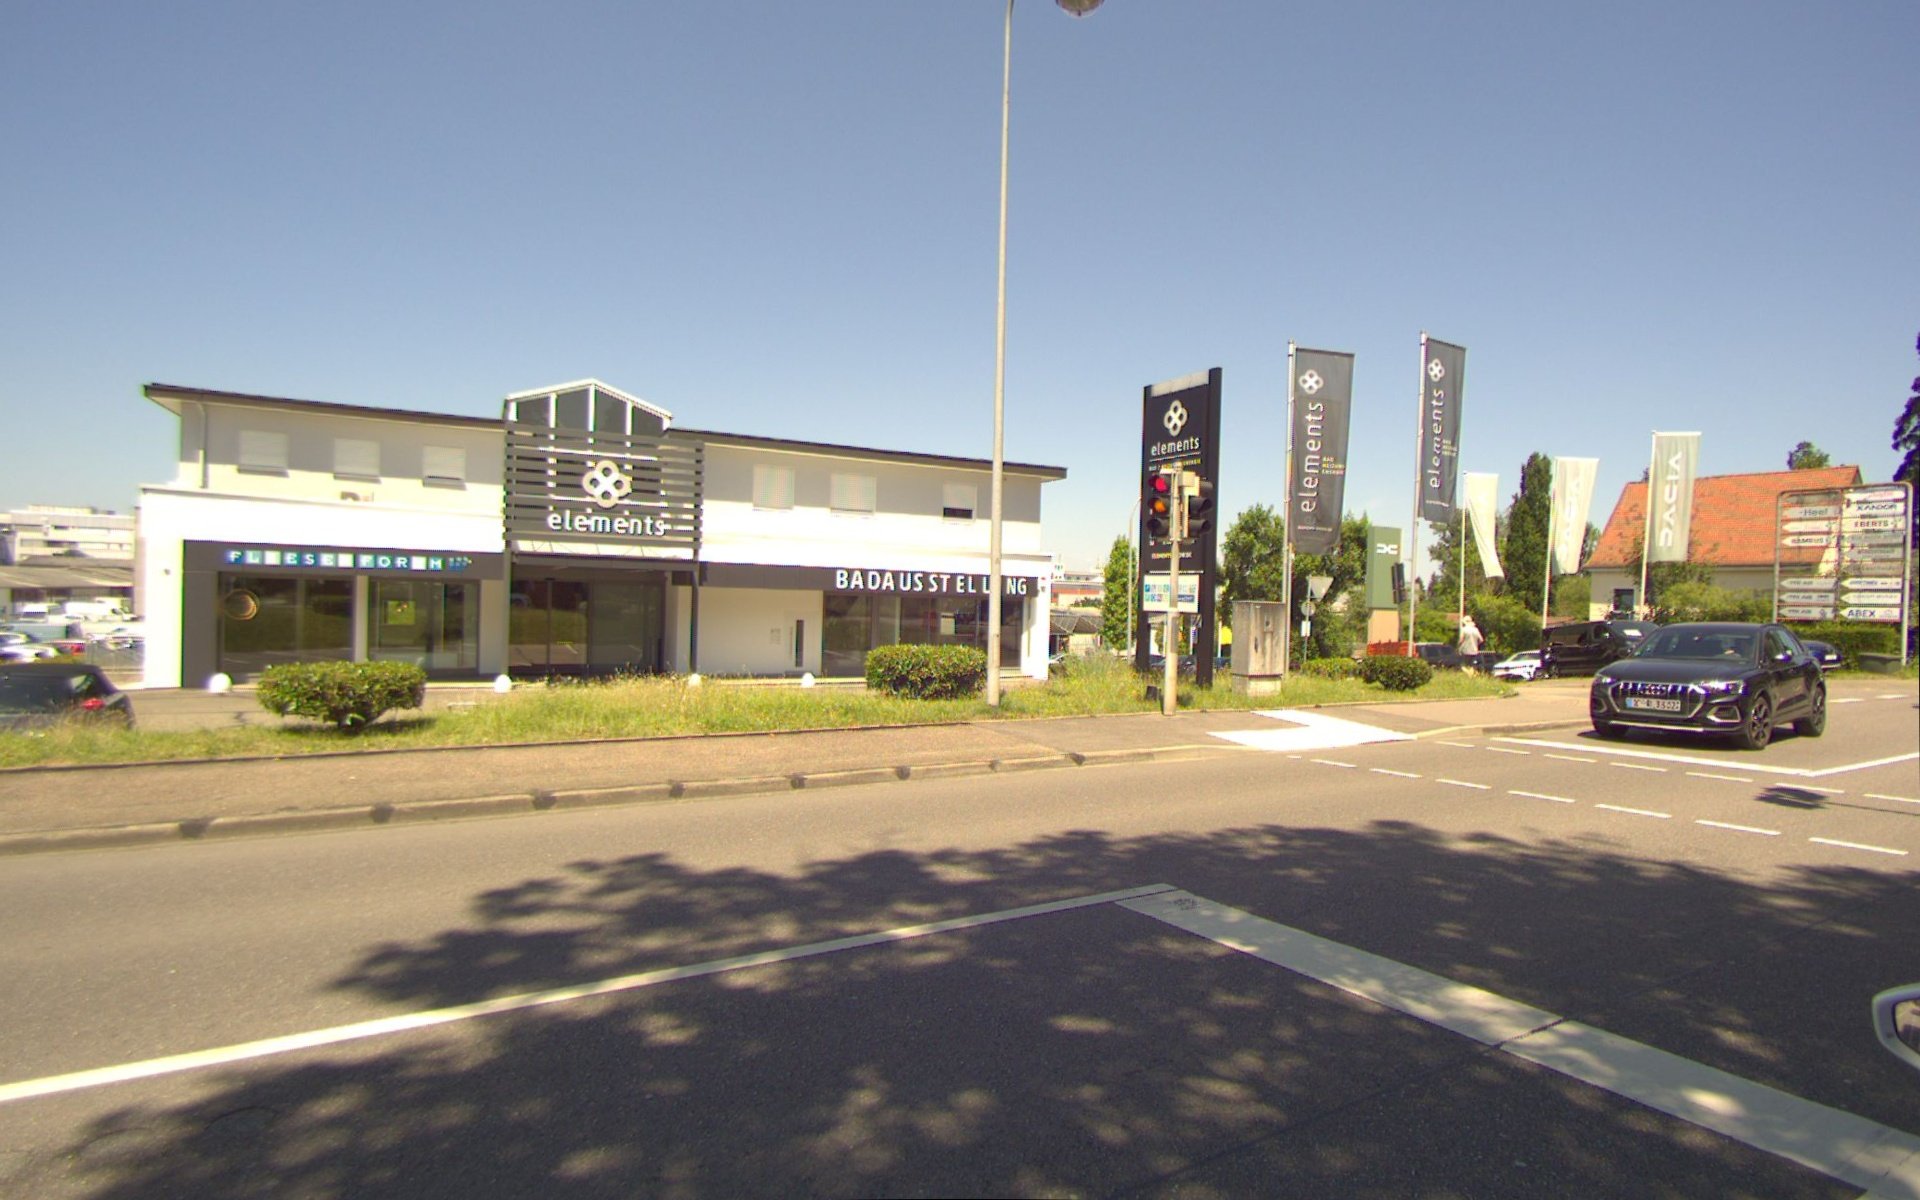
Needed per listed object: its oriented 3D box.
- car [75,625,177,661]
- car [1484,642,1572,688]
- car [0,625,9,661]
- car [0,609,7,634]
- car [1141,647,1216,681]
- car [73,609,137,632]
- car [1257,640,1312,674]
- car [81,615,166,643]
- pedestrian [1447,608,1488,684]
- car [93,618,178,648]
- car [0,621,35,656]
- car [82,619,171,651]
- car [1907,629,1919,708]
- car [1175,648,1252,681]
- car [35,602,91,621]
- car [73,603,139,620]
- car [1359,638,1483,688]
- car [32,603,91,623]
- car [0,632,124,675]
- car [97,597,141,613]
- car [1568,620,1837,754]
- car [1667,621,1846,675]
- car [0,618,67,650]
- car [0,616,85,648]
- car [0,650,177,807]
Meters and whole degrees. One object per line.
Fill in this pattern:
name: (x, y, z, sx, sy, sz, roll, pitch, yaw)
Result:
car: (-43.125, 2.223, 52.034, 3.726, 1.778, 1.719, 2, -1, -28)
car: (23.901, 2.678, 42.217, 4.053, 1.744, 1.795, 2, 0, -38)
car: (-49.207, 2.088, 48.963, 3.726, 1.778, 1.719, 2, -1, -28)
car: (-74.818, 1.602, 75.848, 3.726, 1.778, 1.719, 2, 2, -28)
car: (10.877, 3.161, 49.905, 3.973, 1.506, 1.735, 2, -1, -44)
car: (-71.030, 1.714, 83.492, 3.726, 1.778, 1.719, 2, -1, -28)
car: (18.657, 3.258, 57.658, 1.785, 1.744, 4.075, 2, 0, 36)
car: (-55.339, 1.919, 66.510, 4.004, 1.778, 1.719, 2, -1, -28)
pedestrian: (12.165, 1.086, 24.084, 0.689, 1.785, 0.545, 1, 0, -4)
car: (-50.729, 2.042, 61.877, 3.726, 1.778, 1.719, 2, -1, -28)
car: (-51.426, 2.019, 52.787, 3.726, 1.778, 1.719, 2, -1, -28)
car: (-49.214, 2.071, 59.375, 3.726, 1.778, 1.719, 2, -1, -28)
car: (20.562, 1.375, 19.860, 4.011, 1.527, 1.857, 2, -1, -34)
car: (12.074, 3.038, 47.705, 3.837, 1.434, 1.634, 2, -1, -40)
car: (-88.190, 1.166, 98.764, 3.726, 1.778, 1.719, 2, -1, -28)
car: (-95.793, 1.305, 112.715, 5.236, 1.778, 2.051, 2, -1, -28)
car: (17.232, 2.346, 37.585, 4.022, 1.744, 1.808, 2, 0, -16)
car: (-84.033, 1.249, 94.014, 3.726, 1.778, 1.719, 2, -1, -28)
car: (-38.932, 2.310, 43.594, 3.726, 1.778, 1.719, 2, -1, -28)
car: (-100.064, 0.605, 119.581, 3.726, 1.778, 1.719, 2, -1, -28)
car: (10.468, 1.108, 14.065, 4.263, 1.576, 1.912, 2, -1, -37)
car: (24.959, 1.470, 31.649, 1.751, 1.524, 4.129, 1, -1, -20)
car: (-53.493, 1.931, 57.070, 3.726, 1.778, 1.719, 2, -1, -28)
car: (-54.868, 1.906, 59.876, 3.726, 1.778, 1.719, 2, -1, -28)
car: (-11.706, 1.505, 12.803, 1.746, 1.553, 4.076, 1, -1, -24)
